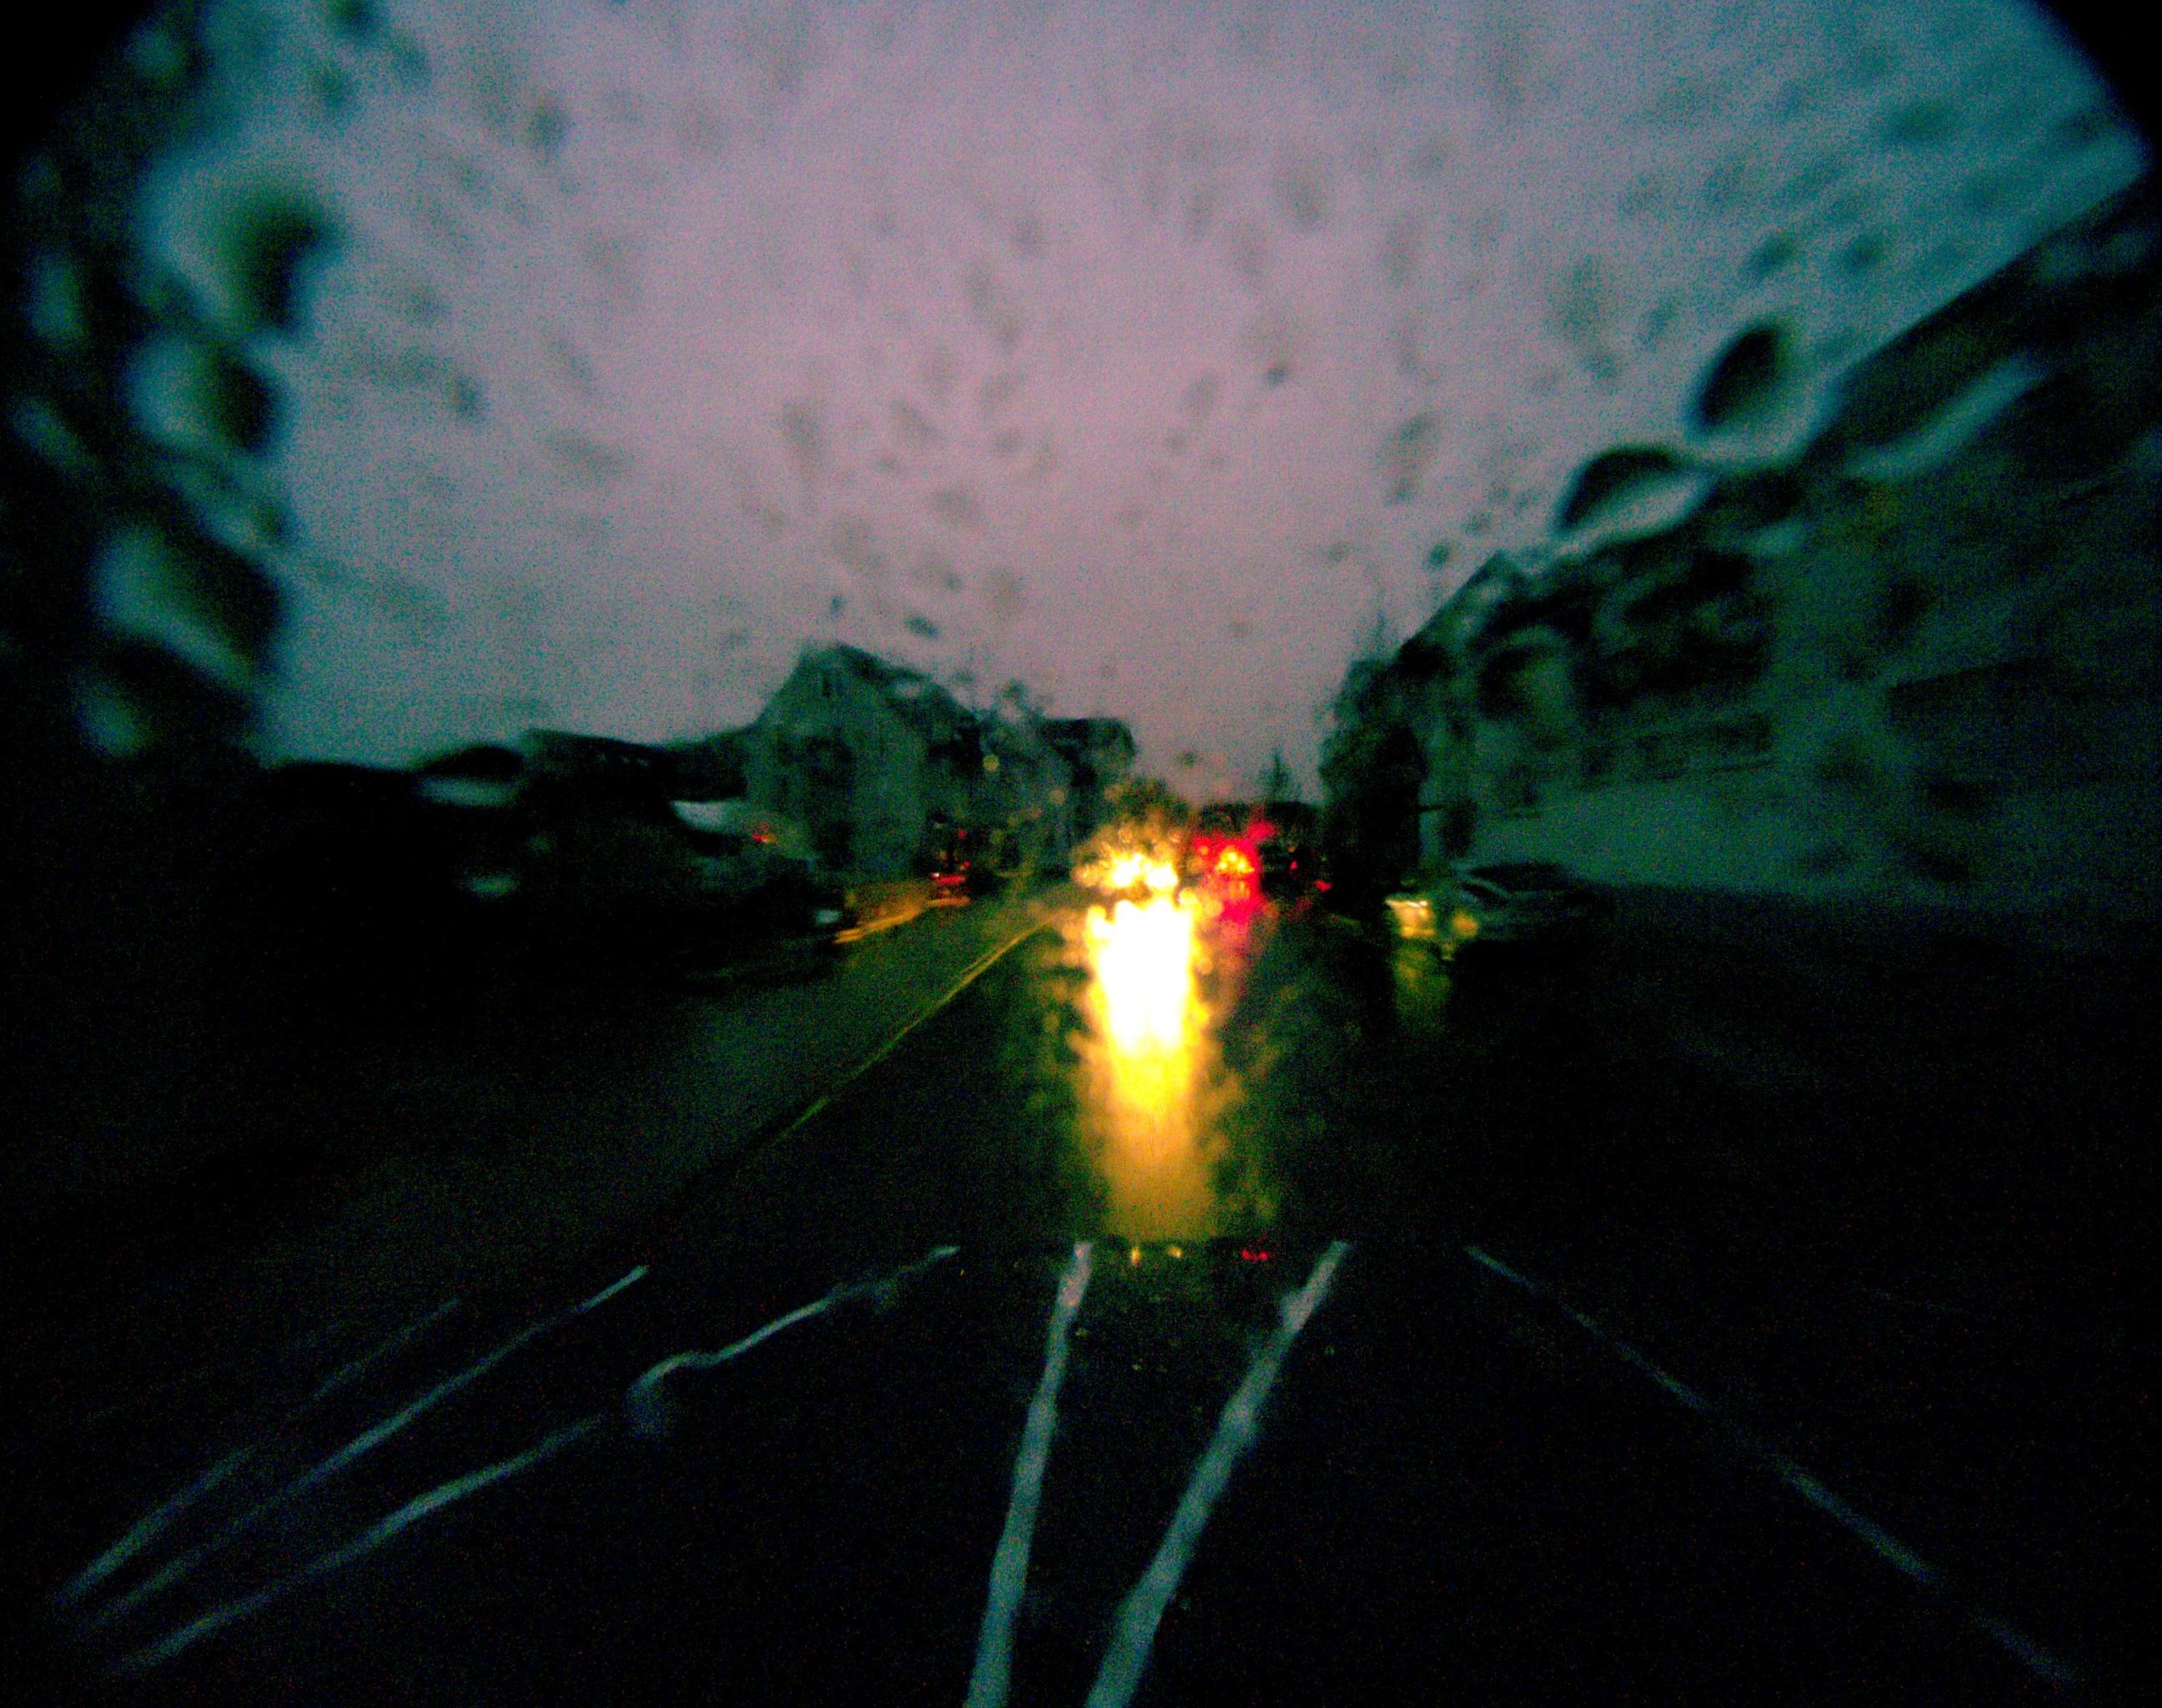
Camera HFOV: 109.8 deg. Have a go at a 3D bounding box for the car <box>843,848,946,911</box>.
[{"bbox_3d":[-5.721,0.730,23.827,1.784,1.811,4.246,0,0,6],"label":"car"}]

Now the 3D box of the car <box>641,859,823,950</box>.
[{"bbox_3d":[-6.144,0.847,13.898,1.786,1.398,3.753,2,-2,-4],"label":"car"}]

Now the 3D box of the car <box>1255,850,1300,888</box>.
[{"bbox_3d":[9.588,0.674,37.025,1.937,1.660,4.346,-3,0,15],"label":"car"}]

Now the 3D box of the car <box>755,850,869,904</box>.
[{"bbox_3d":[-8.634,0.694,24.784,1.784,1.533,4.246,3,0,6],"label":"car"}]

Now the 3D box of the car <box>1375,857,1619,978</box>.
[{"bbox_3d":[6.172,0.835,11.941,1.798,1.448,4.396,-3,0,6],"label":"car"}]

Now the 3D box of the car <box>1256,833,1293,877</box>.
[{"bbox_3d":[12.754,0.073,49.968,2.044,2.644,4.215,-3,0,17],"label":"car"}]

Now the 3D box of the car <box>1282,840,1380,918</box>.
[{"bbox_3d":[6.864,0.644,21.393,1.883,1.889,4.838,-3,-1,10],"label":"car"}]

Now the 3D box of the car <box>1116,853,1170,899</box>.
[{"bbox_3d":[2.482,0.807,29.646,1.877,1.622,4.002,-1,0,8],"label":"car"}]

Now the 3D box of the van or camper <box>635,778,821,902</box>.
[{"bbox_3d":[-11.486,-0.401,25.628,2.437,3.489,7.125,3,0,4],"label":"van or camper"}]

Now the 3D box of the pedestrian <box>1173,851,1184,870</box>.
[{"bbox_3d":[8.565,0.574,66.720,0.651,1.651,0.648,2,1,-40],"label":"pedestrian"}]

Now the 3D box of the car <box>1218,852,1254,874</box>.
[{"bbox_3d":[11.234,0.643,55.000,1.995,1.491,4.005,-1,0,20],"label":"car"}]

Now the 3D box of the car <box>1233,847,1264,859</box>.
[{"bbox_3d":[23.888,-0.129,108.430,3.988,1.637,1.865,2,0,32],"label":"car"}]
